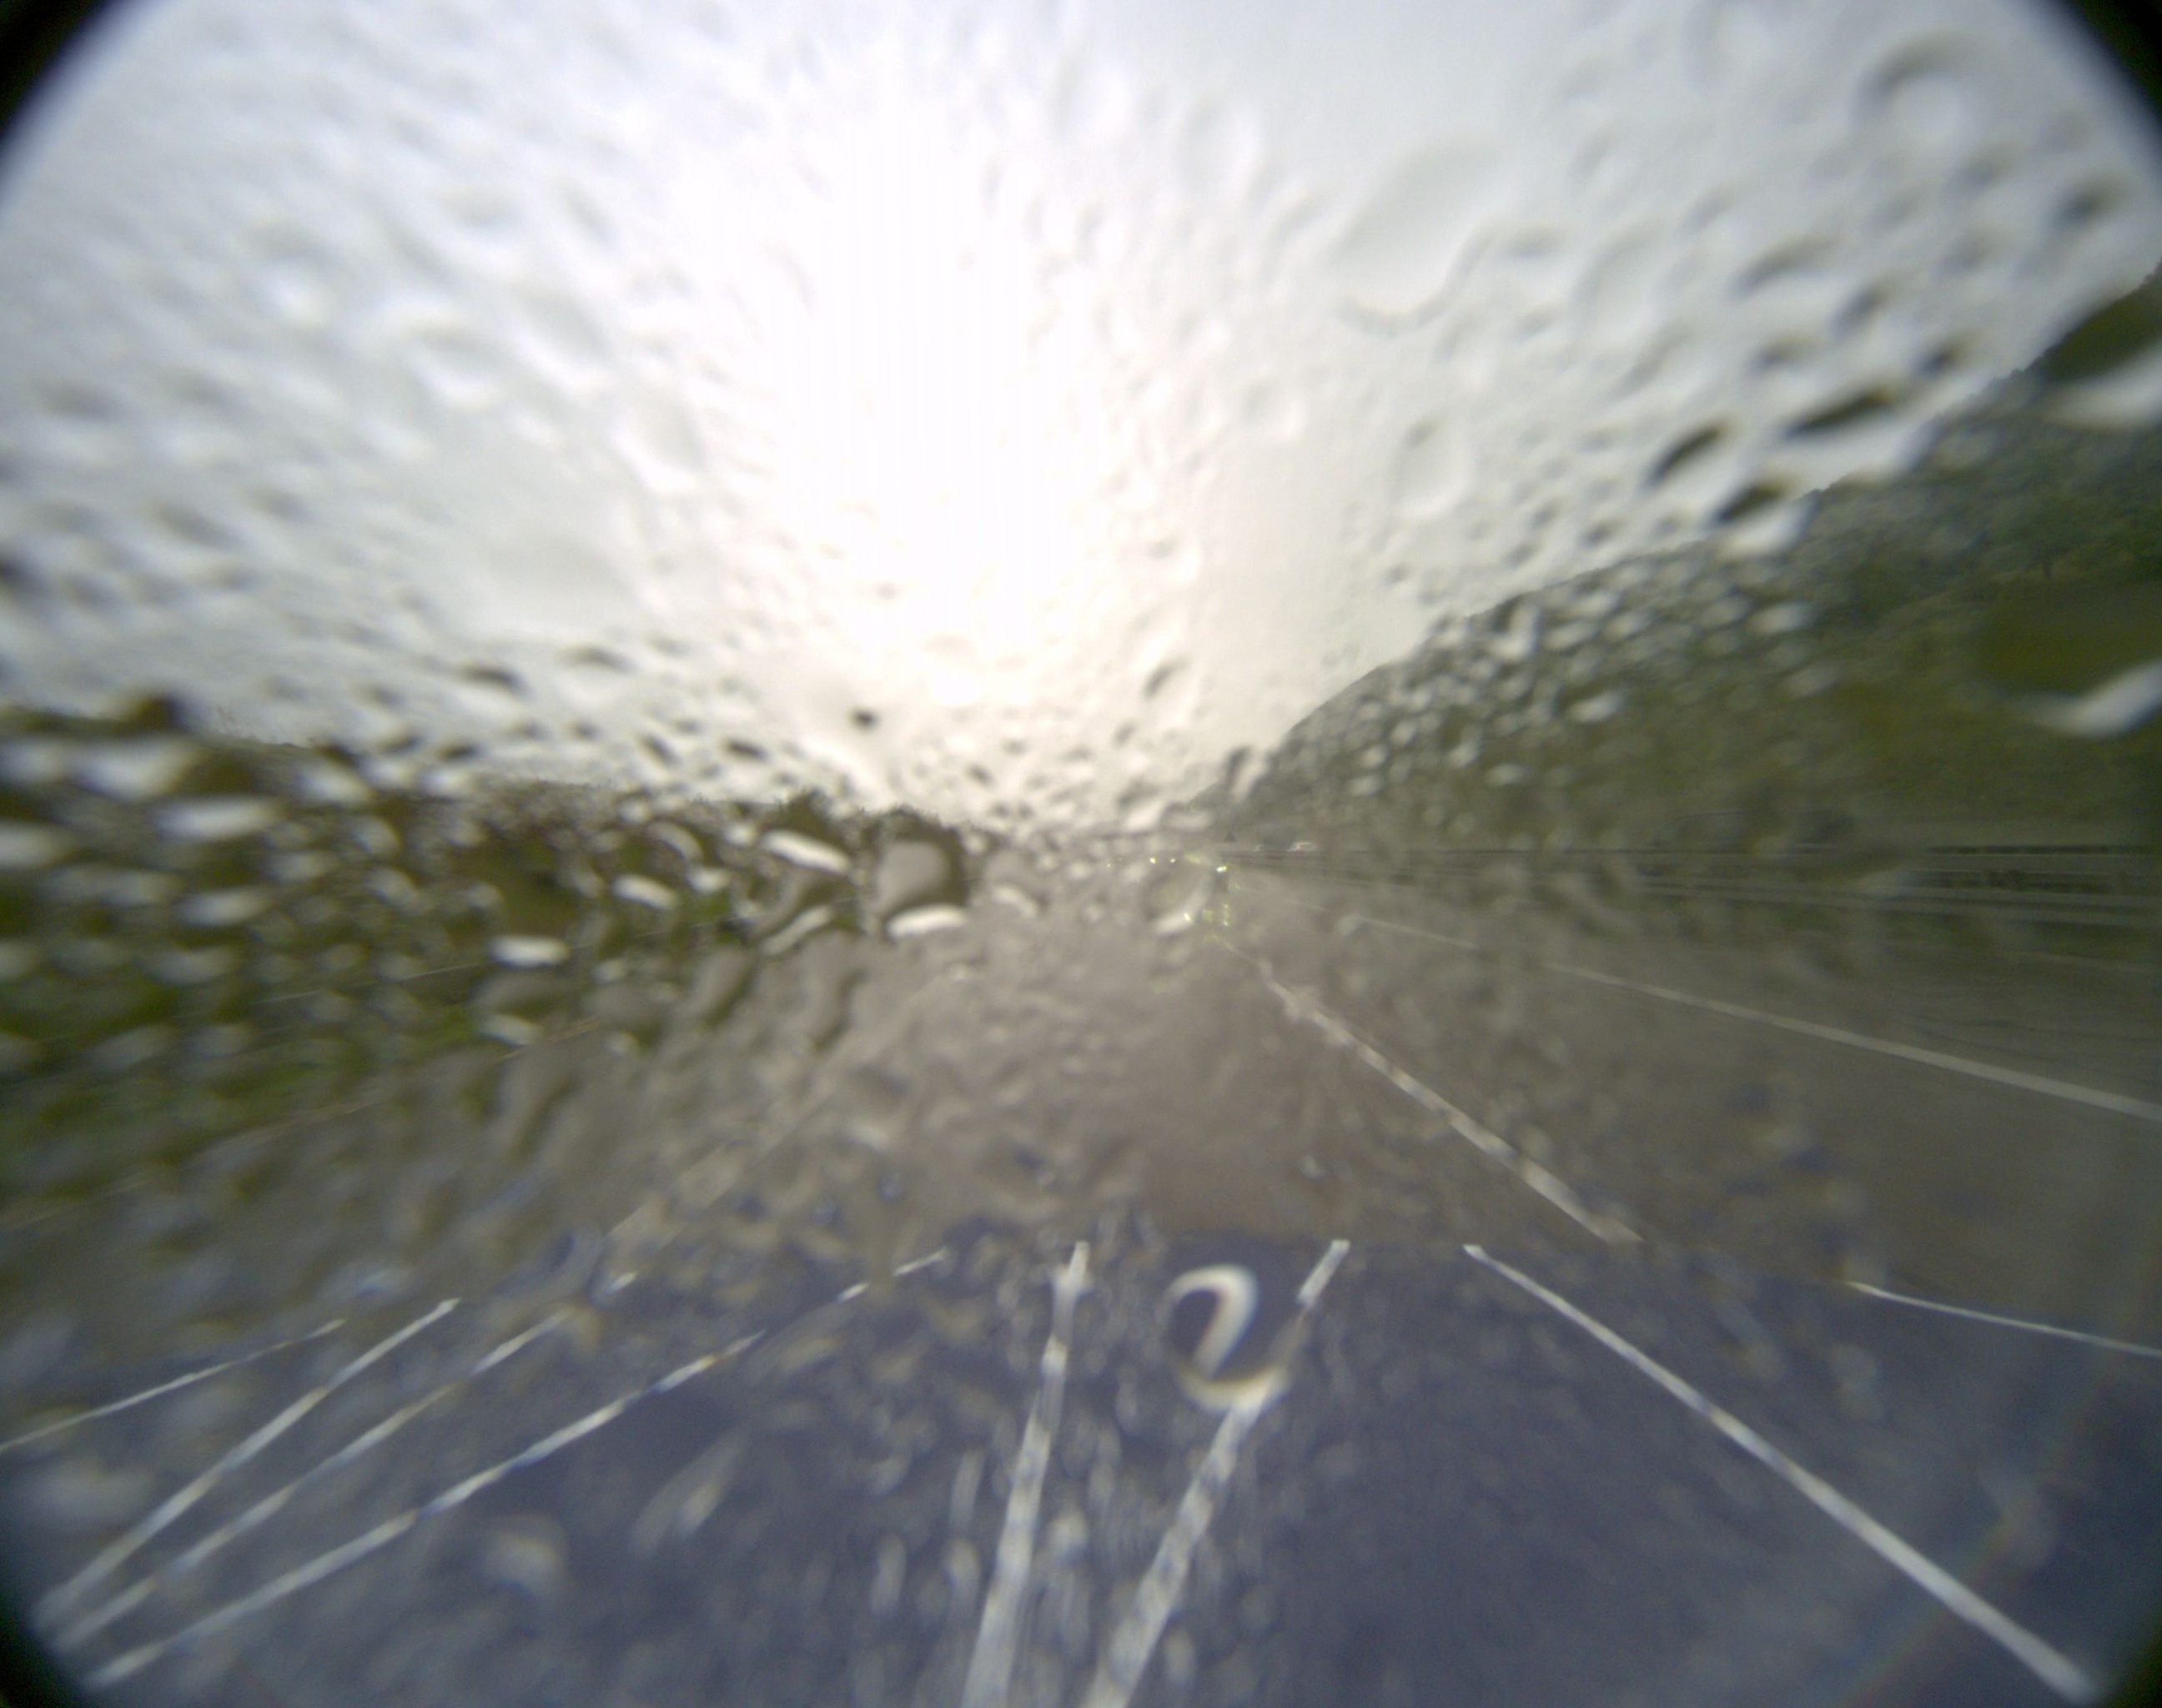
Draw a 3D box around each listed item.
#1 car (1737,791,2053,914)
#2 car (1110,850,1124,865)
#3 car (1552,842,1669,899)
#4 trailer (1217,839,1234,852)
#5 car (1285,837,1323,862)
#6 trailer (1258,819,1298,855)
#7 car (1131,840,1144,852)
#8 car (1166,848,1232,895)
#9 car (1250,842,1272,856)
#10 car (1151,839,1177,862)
[{"bbox_3d":[15.373,-0.034,14.730,1.798,2.002,3.999,-2,0,0],"label":"car"},{"bbox_3d":[5.079,0.448,108.452,1.836,2.002,3.938,-3,1,1],"label":"car"},{"bbox_3d":[20.354,0.584,29.435,1.794,2.002,4.000,-2,0,2],"label":"car"},{"bbox_3d":[38.152,-2.239,200.648,2.819,3.035,14.904,-3,0,5],"label":"trailer"},{"bbox_3d":[19.048,-0.372,65.041,1.998,2.002,5.391,-2,0,4],"label":"car"},{"bbox_3d":[28.726,-2.422,111.320,2.742,4.758,14.044,-2,0,3],"label":"trailer"},{"bbox_3d":[9.533,-1.317,128.108,1.998,2.002,4.000,-2,1,3],"label":"car"},{"bbox_3d":[4.720,0.641,31.068,1.998,1.673,4.908,-1,1,1],"label":"car"},{"bbox_3d":[24.255,-0.674,102.522,1.998,1.735,4.659,-2,1,3],"label":"car"},{"bbox_3d":[6.594,-0.270,60.677,1.814,1.692,3.749,-2,0,2],"label":"car"}]
